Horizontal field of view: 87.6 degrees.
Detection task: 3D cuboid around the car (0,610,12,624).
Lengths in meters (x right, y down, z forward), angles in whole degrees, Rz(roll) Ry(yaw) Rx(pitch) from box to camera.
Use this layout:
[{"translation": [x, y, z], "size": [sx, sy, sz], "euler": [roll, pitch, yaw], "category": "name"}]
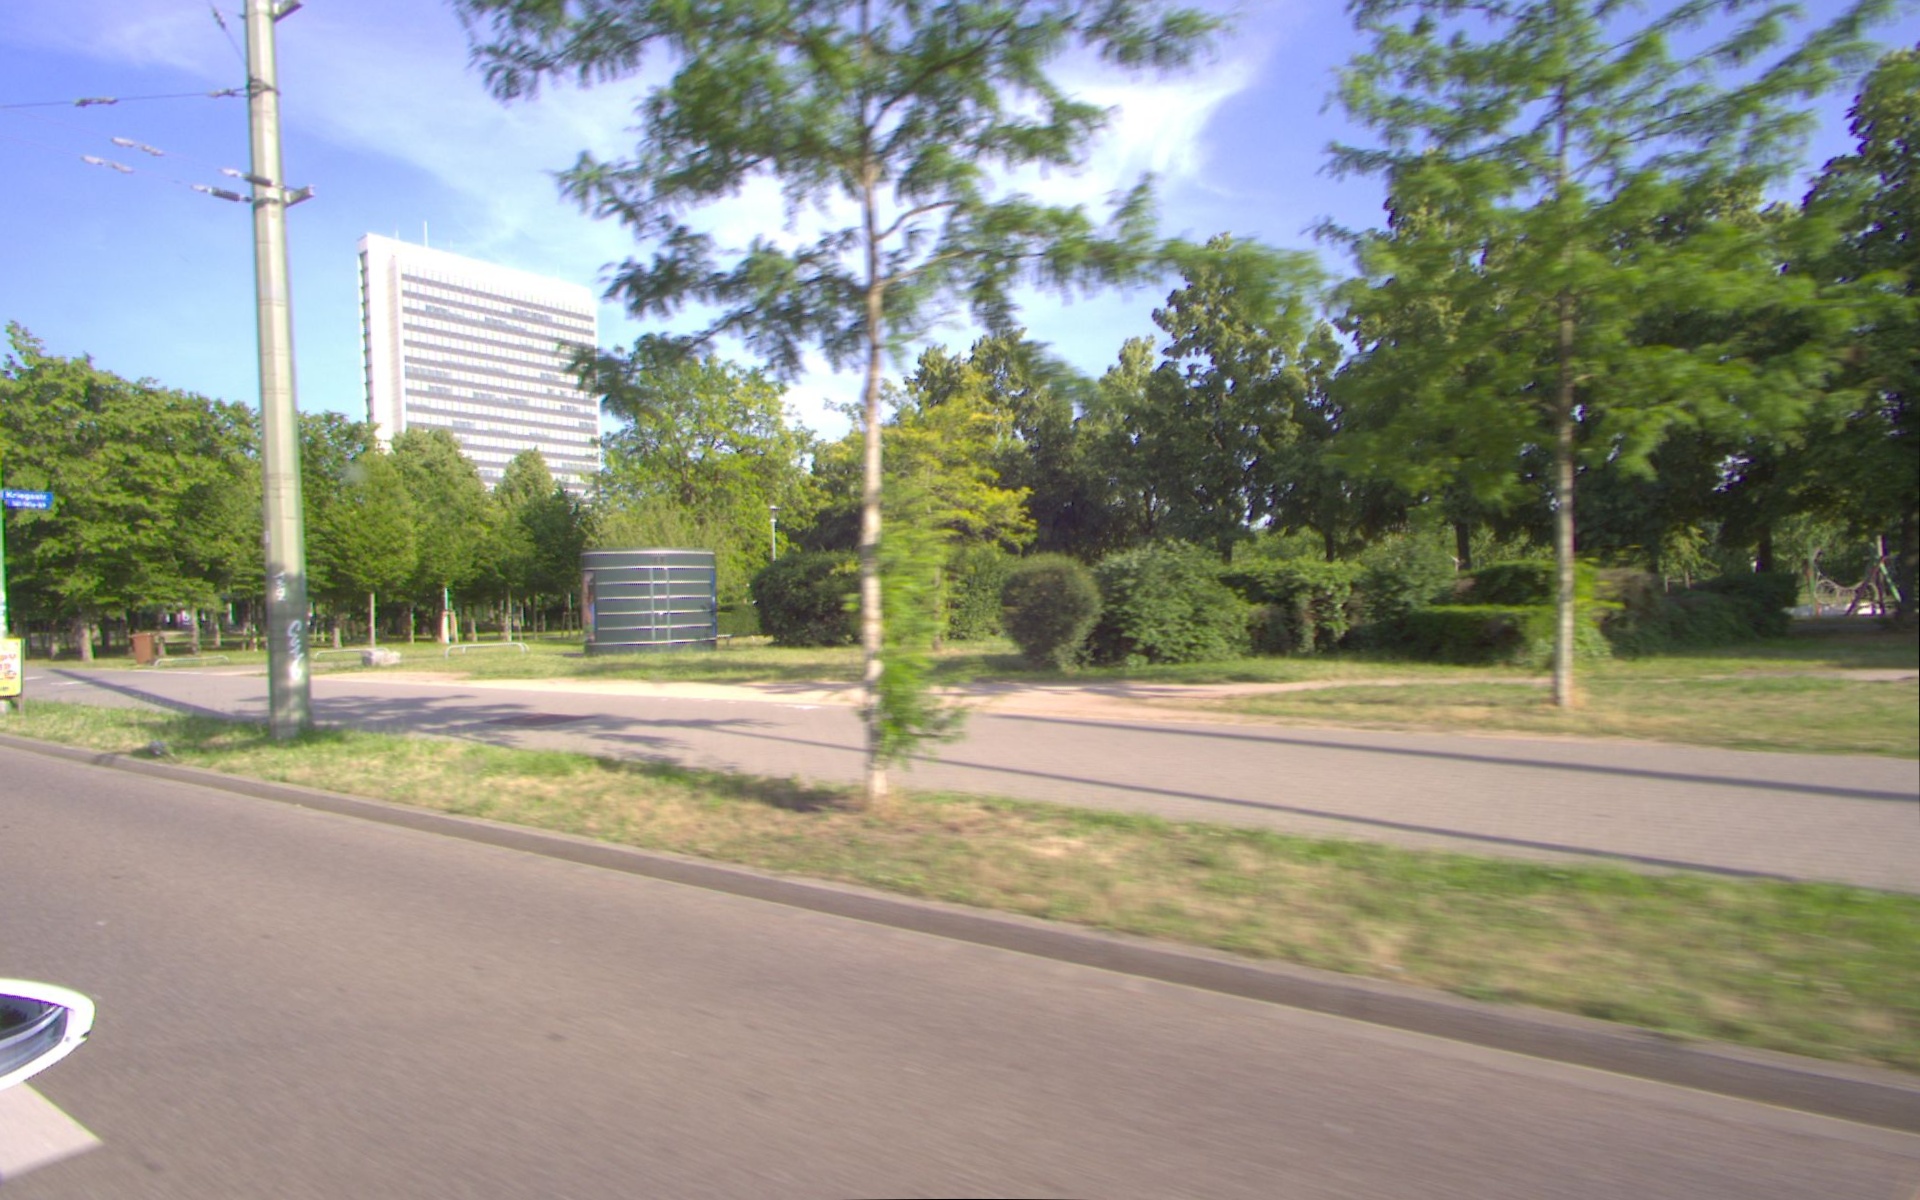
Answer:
[{"translation": [-119.742, 2.175, 123.470], "size": [3.959, 1.673, 1.981], "euler": [-2, 1, -43], "category": "car"}]
